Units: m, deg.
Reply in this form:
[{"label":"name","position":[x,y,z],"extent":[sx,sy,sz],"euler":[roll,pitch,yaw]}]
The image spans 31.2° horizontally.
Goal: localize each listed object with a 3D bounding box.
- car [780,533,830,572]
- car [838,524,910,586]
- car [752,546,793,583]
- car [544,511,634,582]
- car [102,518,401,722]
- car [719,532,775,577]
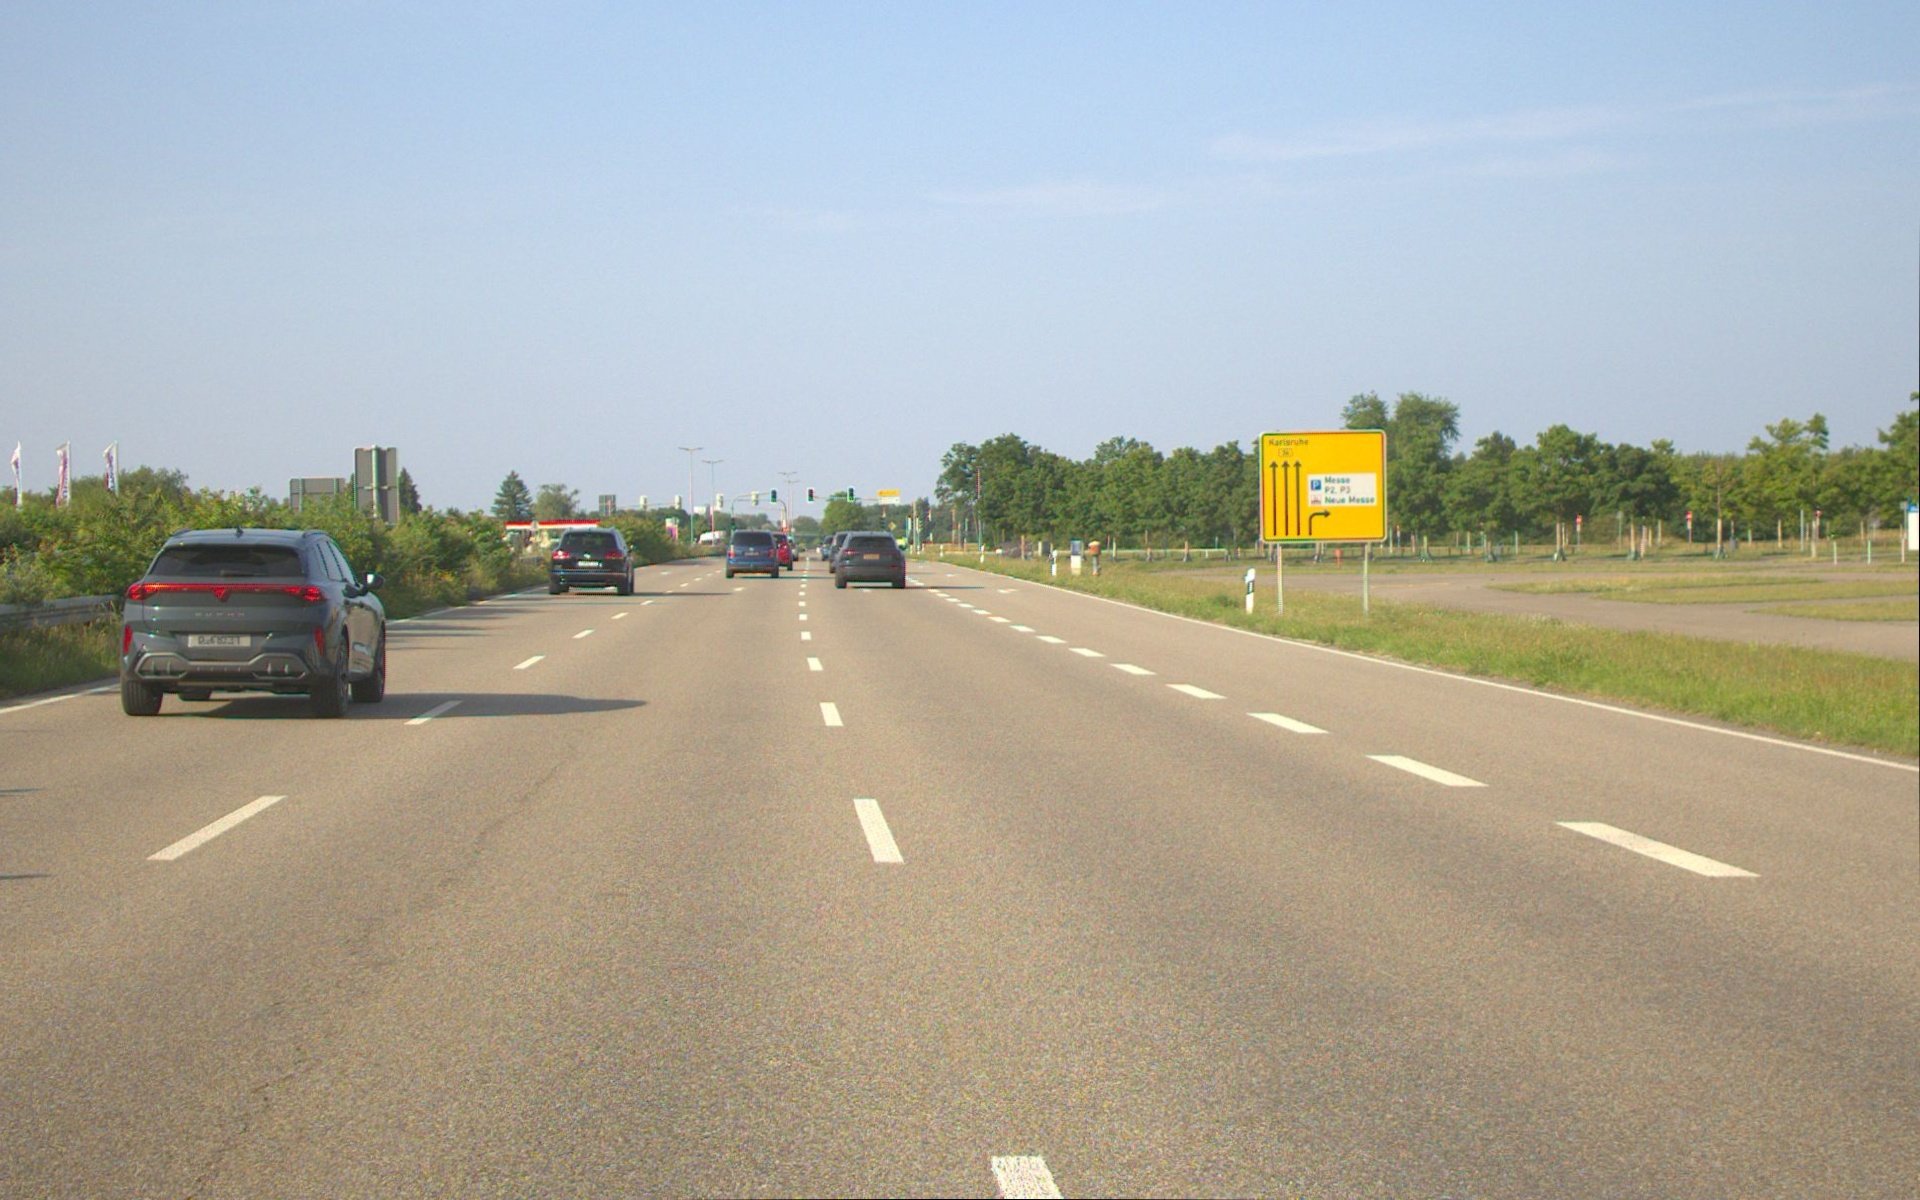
[{"label":"car","position":[-6.067,-1.866,134.813],"extent":[1.873,1.458,3.981],"euler":[2,1,-2]},{"label":"car","position":[-2.505,-1.312,99.120],"extent":[1.932,1.674,4.401],"euler":[2,1,-2]},{"label":"car","position":[-7.824,-1.499,143.643],"extent":[1.647,1.458,3.981],"euler":[2,1,-2]},{"label":"car","position":[-9.295,-1.347,86.390],"extent":[1.932,1.674,4.401],"euler":[2,1,-2]},{"label":"car","position":[-6.116,0.123,30.134],"extent":[1.845,1.606,4.401],"euler":[2,1,-2]},{"label":"car","position":[-7.309,-1.590,118.310],"extent":[1.812,1.458,4.401],"euler":[2,1,-2]}]
